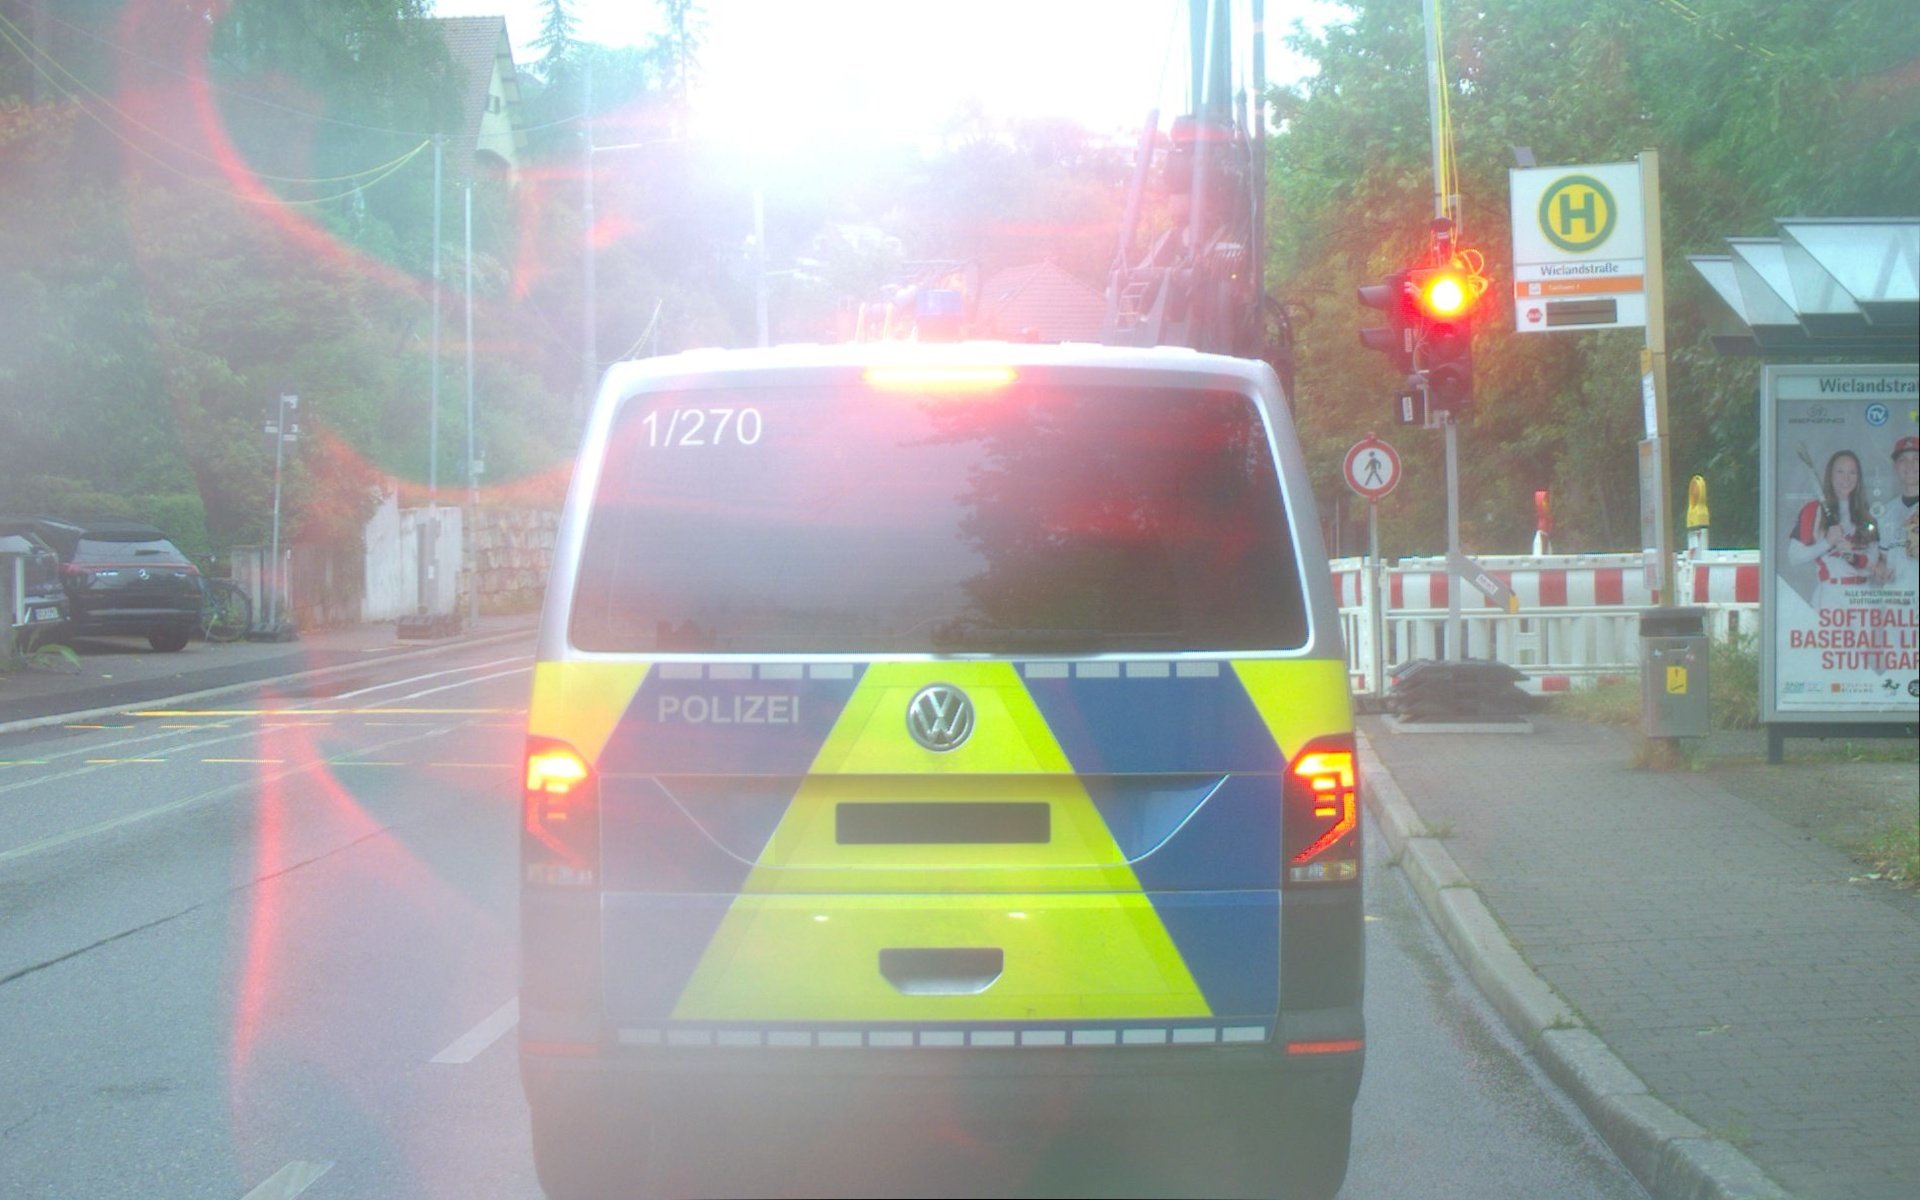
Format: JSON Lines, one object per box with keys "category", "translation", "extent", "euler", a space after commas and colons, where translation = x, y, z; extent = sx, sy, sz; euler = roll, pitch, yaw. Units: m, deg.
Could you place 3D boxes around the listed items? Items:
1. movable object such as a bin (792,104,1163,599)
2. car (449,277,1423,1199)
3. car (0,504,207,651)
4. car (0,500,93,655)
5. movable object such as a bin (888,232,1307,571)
{"category": "movable object such as a bin", "translation": [0.275, -2.190, 31.590], "extent": [2.879, 4.156, 4.486], "euler": [-1, 2, 6]}
{"category": "car", "translation": [-0.074, 0.353, 9.044], "extent": [1.908, 2.003, 4.440], "euler": [1, 1, -1]}
{"category": "car", "translation": [-10.010, -0.278, 37.738], "extent": [1.781, 1.520, 3.999], "euler": [0, 1, -39]}
{"category": "car", "translation": [-11.117, -0.259, 34.978], "extent": [3.989, 1.520, 1.940], "euler": [1, 1, 13]}
{"category": "movable object such as a bin", "translation": [2.366, -3.064, 55.843], "extent": [3.689, 5.049, 7.150], "euler": [-1, 0, 32]}
